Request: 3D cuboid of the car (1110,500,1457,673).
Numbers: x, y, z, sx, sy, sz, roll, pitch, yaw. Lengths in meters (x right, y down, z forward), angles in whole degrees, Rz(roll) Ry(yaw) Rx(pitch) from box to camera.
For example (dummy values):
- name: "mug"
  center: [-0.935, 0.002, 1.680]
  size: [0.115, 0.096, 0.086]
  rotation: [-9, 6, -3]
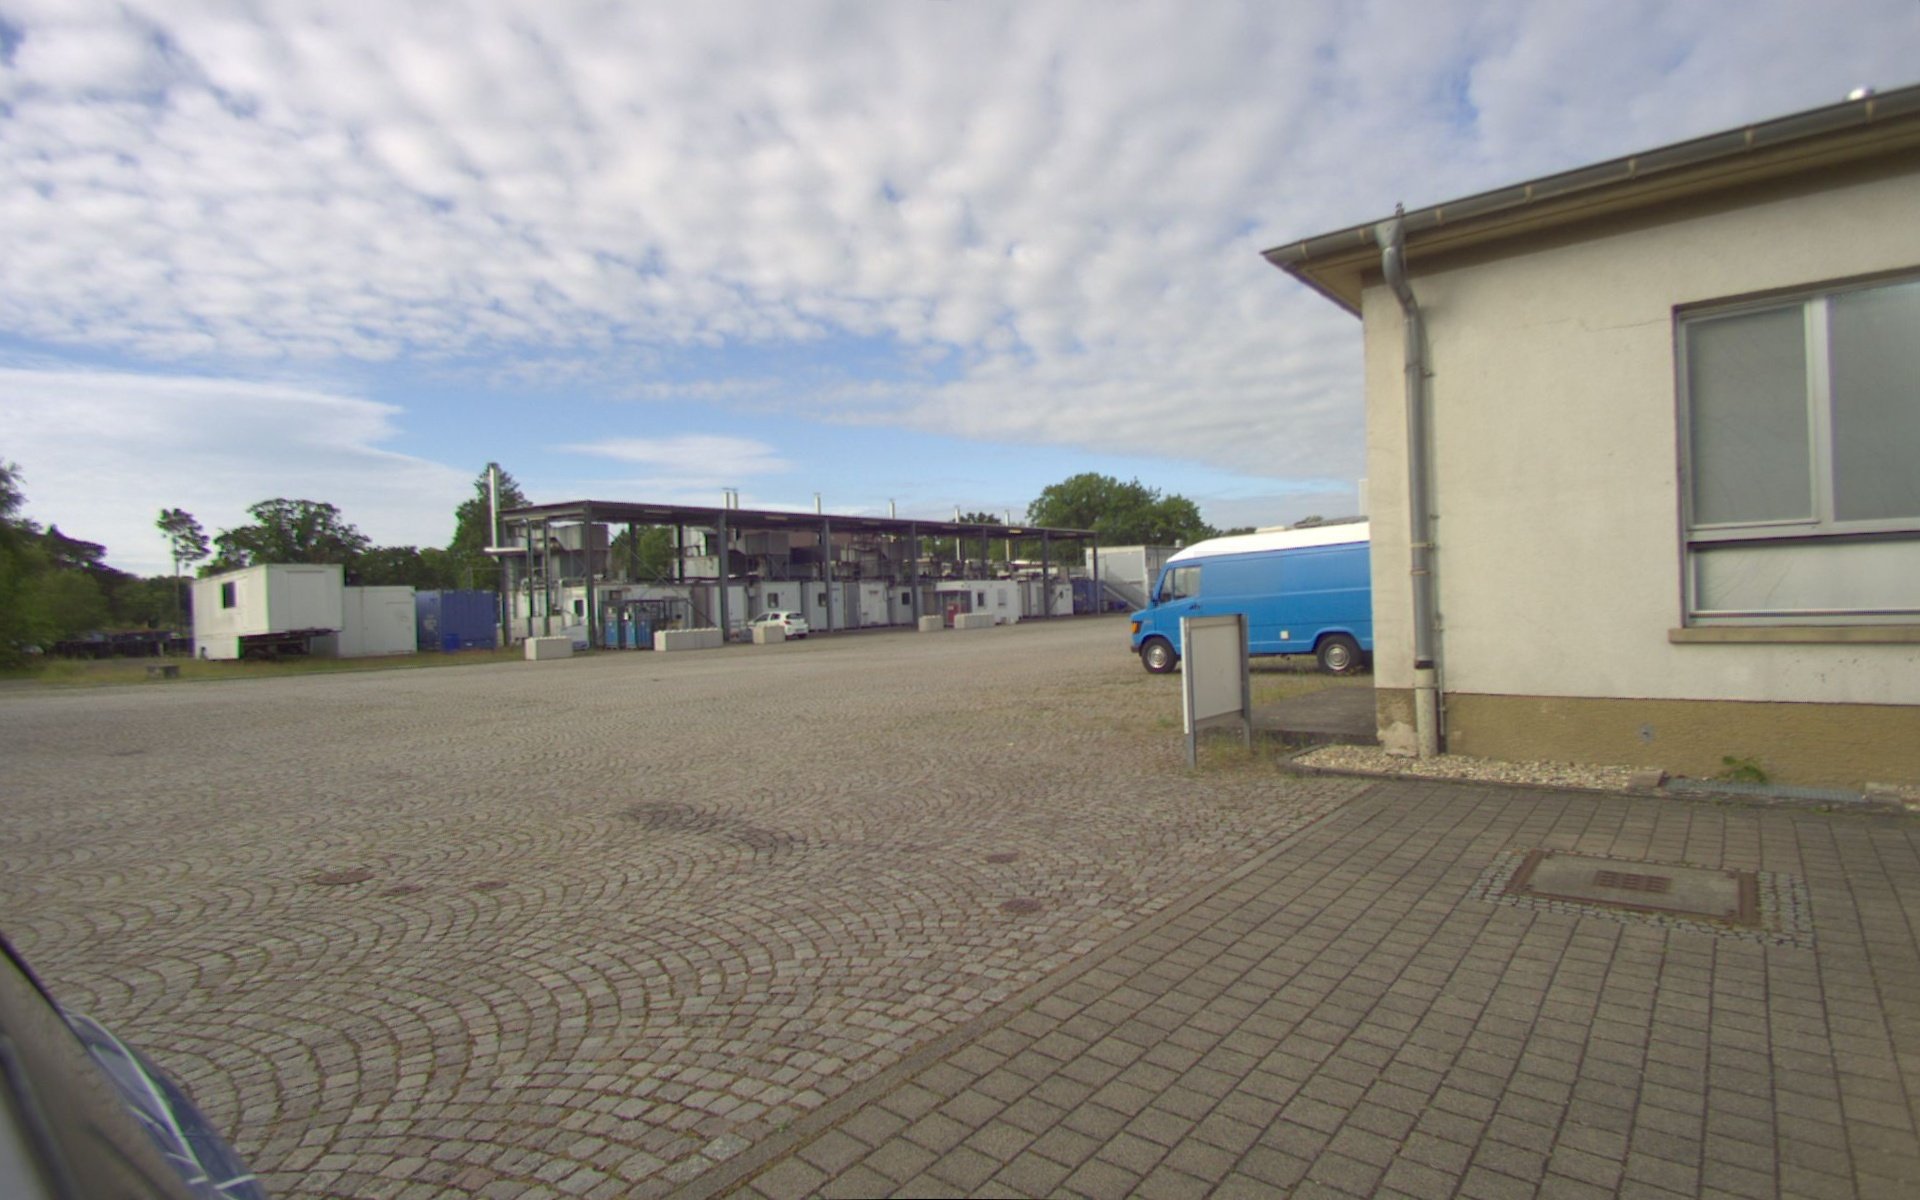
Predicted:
- name: "car"
  center: [5.534, -0.095, 17.891]
  size: [5.395, 2.602, 1.973]
  rotation: [-4, -2, 42]

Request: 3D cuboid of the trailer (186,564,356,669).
- name: "trailer"
  center: [-27.517, 0.756, 40.138]
  size: [10.770, 3.690, 2.839]
  rotation: [-3, -1, 41]

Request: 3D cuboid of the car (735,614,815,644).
- name: "car"
  center: [-9.660, 1.507, 52.764]
  size: [3.992, 1.484, 1.911]
  rotation: [-2, -2, 36]
